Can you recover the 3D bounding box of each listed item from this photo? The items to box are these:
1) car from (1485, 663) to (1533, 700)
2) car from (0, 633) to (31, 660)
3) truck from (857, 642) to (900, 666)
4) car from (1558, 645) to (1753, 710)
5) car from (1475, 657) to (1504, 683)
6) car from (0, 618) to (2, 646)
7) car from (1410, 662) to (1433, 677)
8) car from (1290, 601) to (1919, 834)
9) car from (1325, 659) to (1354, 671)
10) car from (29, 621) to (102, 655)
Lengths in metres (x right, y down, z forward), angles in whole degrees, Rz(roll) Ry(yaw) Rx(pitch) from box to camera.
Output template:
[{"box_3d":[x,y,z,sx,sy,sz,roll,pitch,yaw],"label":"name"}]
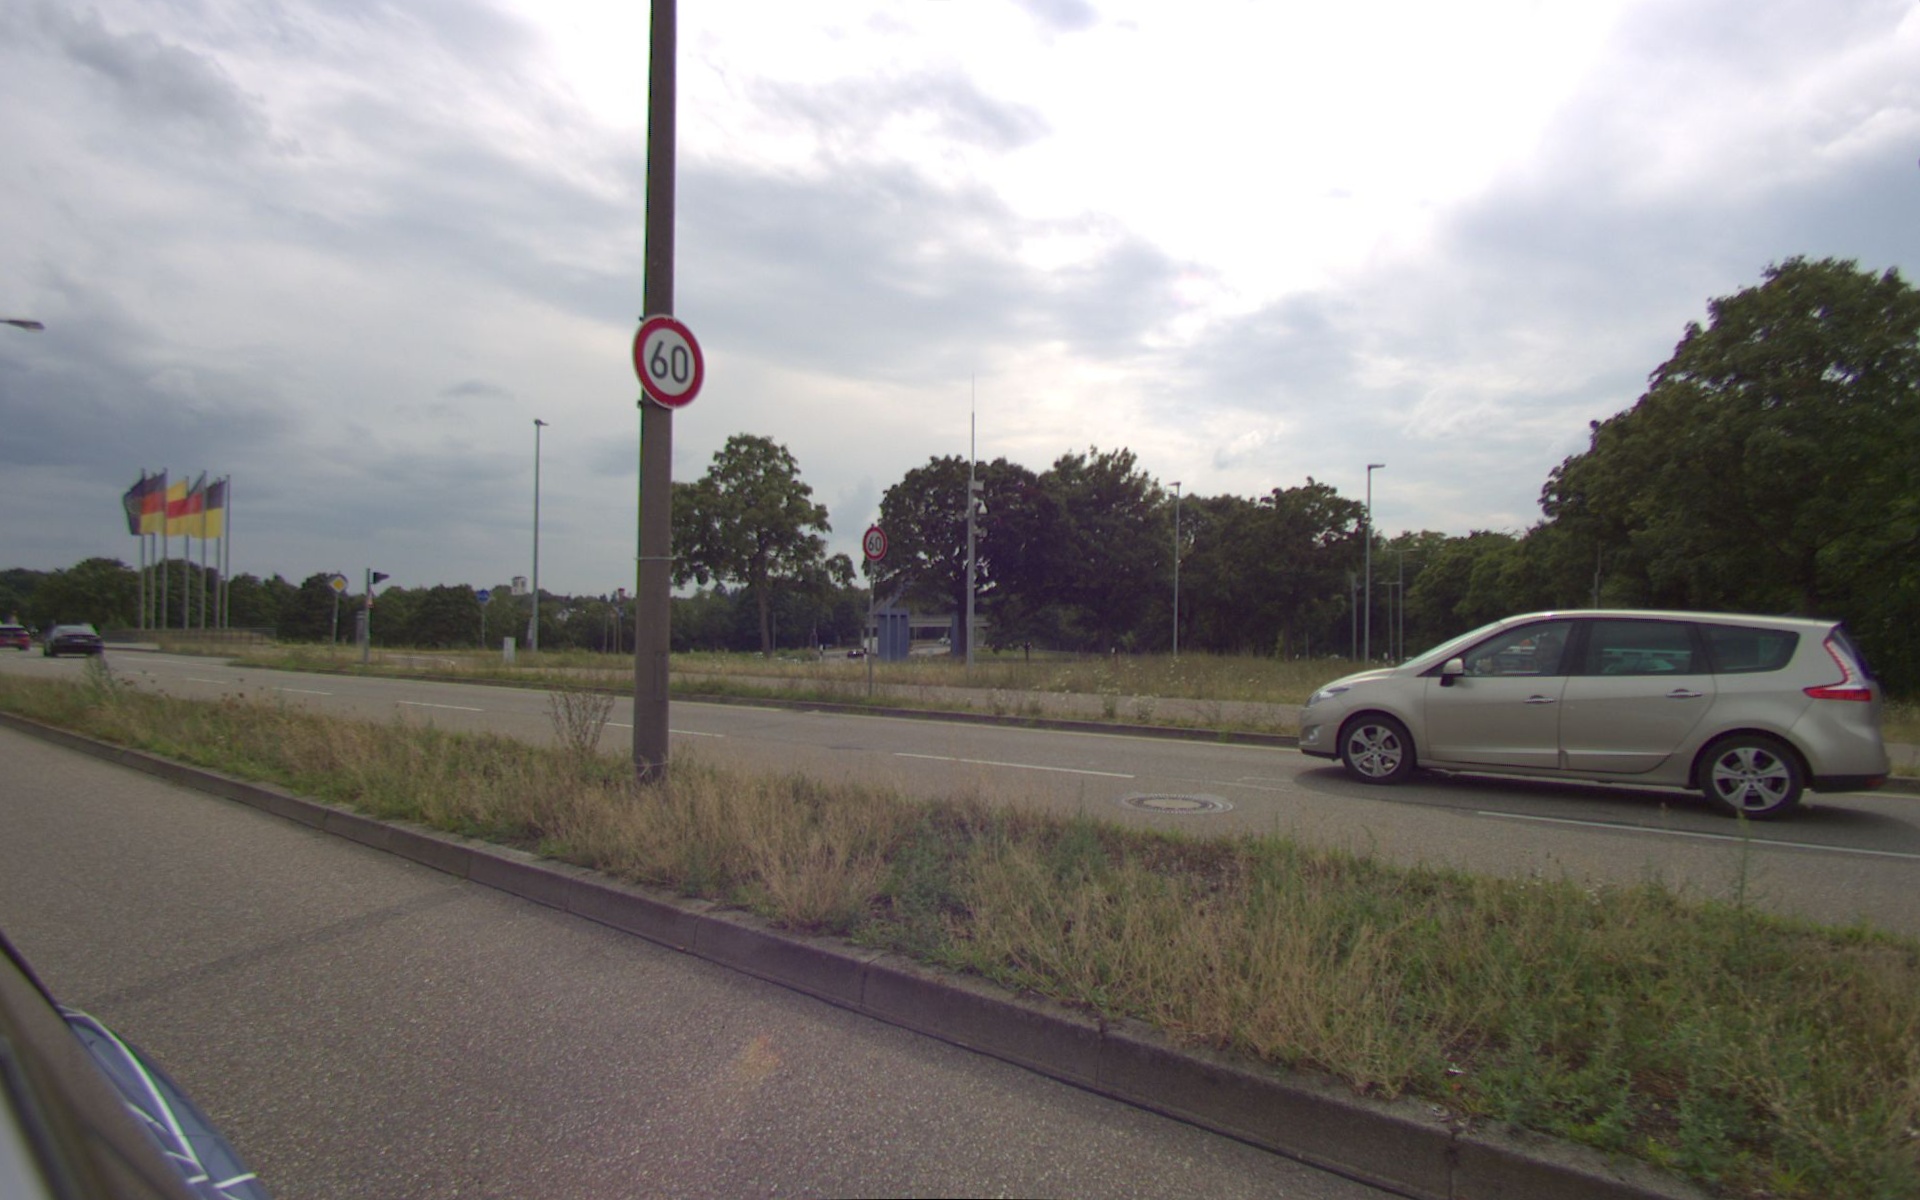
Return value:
[{"box_3d":[23.125,3.395,42.730,1.509,1.378,4.143,-1,-2,25],"label":"car"},{"box_3d":[-57.347,2.759,60.745,4.333,1.586,1.635,-1,-4,39],"label":"car"},{"box_3d":[-15.923,10.545,199.650,3.008,4.376,13.910,-1,-1,20],"label":"truck"},{"box_3d":[17.508,1.913,25.795,1.725,1.457,4.463,0,-2,-2],"label":"car"},{"box_3d":[29.027,3.816,55.568,1.265,1.283,2.983,-1,-2,25],"label":"car"},{"box_3d":[-95.524,3.155,99.294,2.029,2.663,6.403,3,-4,-45],"label":"car"},{"box_3d":[47.748,7.131,104.679,1.560,1.407,3.859,0,-2,16],"label":"car"},{"box_3d":[5.498,0.879,9.029,4.558,1.610,1.728,-1,-3,38],"label":"car"},{"box_3d":[49.055,8.410,130.872,1.548,1.407,3.889,1,-2,-14],"label":"car"},{"box_3d":[-40.930,1.718,46.270,4.560,1.487,1.728,-1,-3,39],"label":"car"}]
